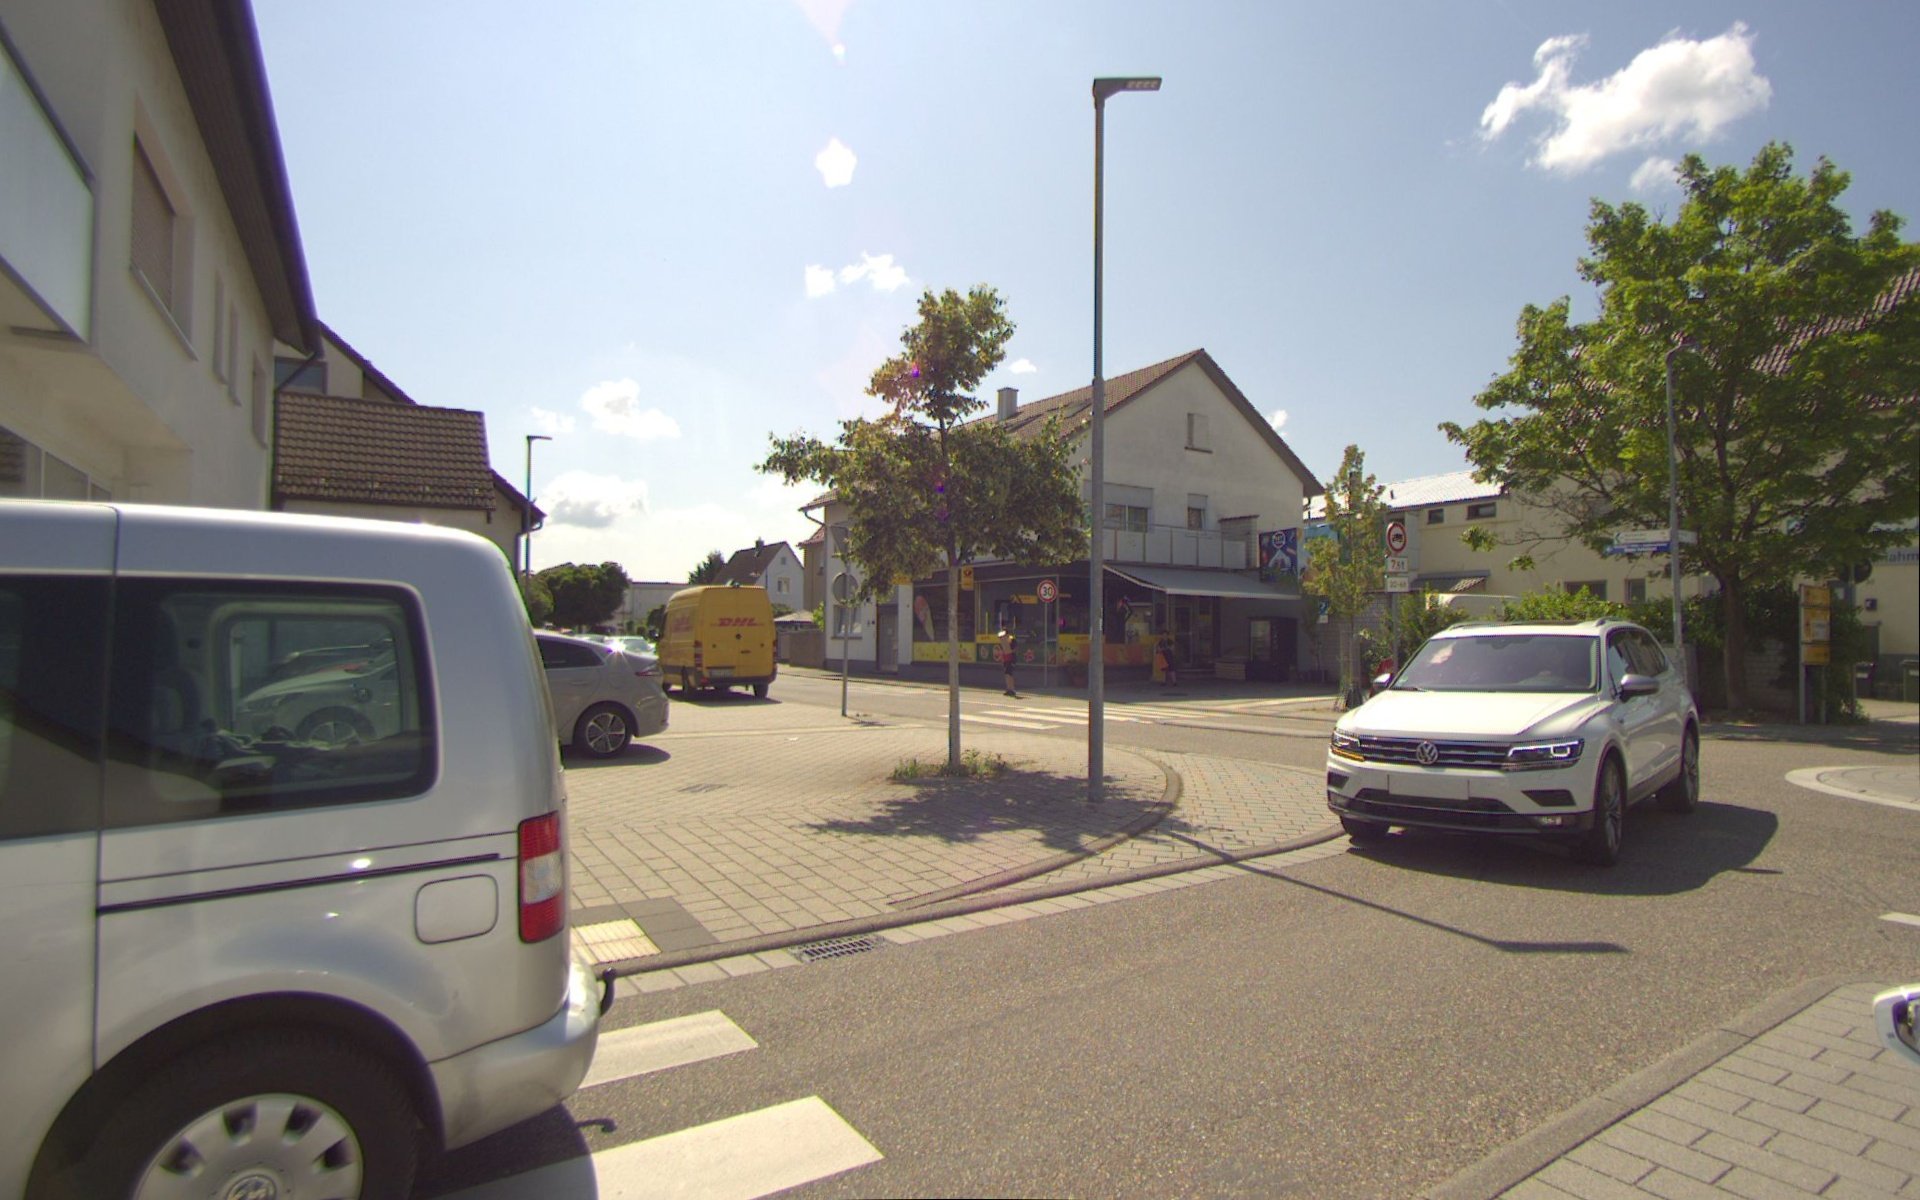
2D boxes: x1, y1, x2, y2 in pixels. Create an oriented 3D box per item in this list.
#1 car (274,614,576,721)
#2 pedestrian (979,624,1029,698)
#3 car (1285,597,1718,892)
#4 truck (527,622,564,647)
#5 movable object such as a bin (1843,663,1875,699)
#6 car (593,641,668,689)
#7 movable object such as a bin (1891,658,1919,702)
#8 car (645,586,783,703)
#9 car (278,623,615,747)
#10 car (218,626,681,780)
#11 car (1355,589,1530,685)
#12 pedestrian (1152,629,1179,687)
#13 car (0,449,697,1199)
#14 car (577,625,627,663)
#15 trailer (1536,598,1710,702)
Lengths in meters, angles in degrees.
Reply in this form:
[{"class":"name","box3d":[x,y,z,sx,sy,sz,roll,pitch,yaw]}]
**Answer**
[{"class":"car","box3d":[-9.801,1.220,18.640,4.698,1.762,1.970,2,-2,-33]},{"class":"pedestrian","box3d":[1.136,1.561,25.974,1.012,1.850,0.776,0,0,-33]},{"class":"car","box3d":[4.614,0.967,8.203,4.513,1.732,1.848,2,-5,-45]},{"class":"truck","box3d":[-42.572,3.588,103.082,2.226,2.483,5.809,2,-3,-36]},{"class":"movable object such as a bin","box3d":[23.901,2.146,26.713,0.540,0.940,0.477,1,-2,-29]},{"class":"car","box3d":[-10.294,1.983,31.222,1.762,1.261,3.948,1,-1,-25]},{"class":"movable object such as a bin","box3d":[24.521,2.045,25.875,0.650,1.093,0.597,1,-2,-29]},{"class":"car","box3d":[-6.323,1.094,25.259,2.086,2.606,5.644,1,-2,-28]},{"class":"car","box3d":[-7.028,1.115,13.940,3.921,1.496,1.737,2,-2,-33]},{"class":"car","box3d":[-5.698,1.081,11.591,4.431,1.469,1.820,2,-3,-33]},{"class":"car","box3d":[14.291,1.080,29.627,5.583,2.601,1.926,2,-1,-32]},{"class":"pedestrian","box3d":[5.886,1.651,28.748,0.735,1.610,0.881,-1,-1,11]},{"class":"car","box3d":[-2.997,0.659,2.189,4.391,1.844,1.763,2,-4,-32]},{"class":"car","box3d":[-19.120,2.321,53.822,1.840,1.857,3.966,1,-1,-10]},{"class":"trailer","box3d":[16.434,1.185,24.848,4.472,2.366,1.869,2,-1,-32]}]
